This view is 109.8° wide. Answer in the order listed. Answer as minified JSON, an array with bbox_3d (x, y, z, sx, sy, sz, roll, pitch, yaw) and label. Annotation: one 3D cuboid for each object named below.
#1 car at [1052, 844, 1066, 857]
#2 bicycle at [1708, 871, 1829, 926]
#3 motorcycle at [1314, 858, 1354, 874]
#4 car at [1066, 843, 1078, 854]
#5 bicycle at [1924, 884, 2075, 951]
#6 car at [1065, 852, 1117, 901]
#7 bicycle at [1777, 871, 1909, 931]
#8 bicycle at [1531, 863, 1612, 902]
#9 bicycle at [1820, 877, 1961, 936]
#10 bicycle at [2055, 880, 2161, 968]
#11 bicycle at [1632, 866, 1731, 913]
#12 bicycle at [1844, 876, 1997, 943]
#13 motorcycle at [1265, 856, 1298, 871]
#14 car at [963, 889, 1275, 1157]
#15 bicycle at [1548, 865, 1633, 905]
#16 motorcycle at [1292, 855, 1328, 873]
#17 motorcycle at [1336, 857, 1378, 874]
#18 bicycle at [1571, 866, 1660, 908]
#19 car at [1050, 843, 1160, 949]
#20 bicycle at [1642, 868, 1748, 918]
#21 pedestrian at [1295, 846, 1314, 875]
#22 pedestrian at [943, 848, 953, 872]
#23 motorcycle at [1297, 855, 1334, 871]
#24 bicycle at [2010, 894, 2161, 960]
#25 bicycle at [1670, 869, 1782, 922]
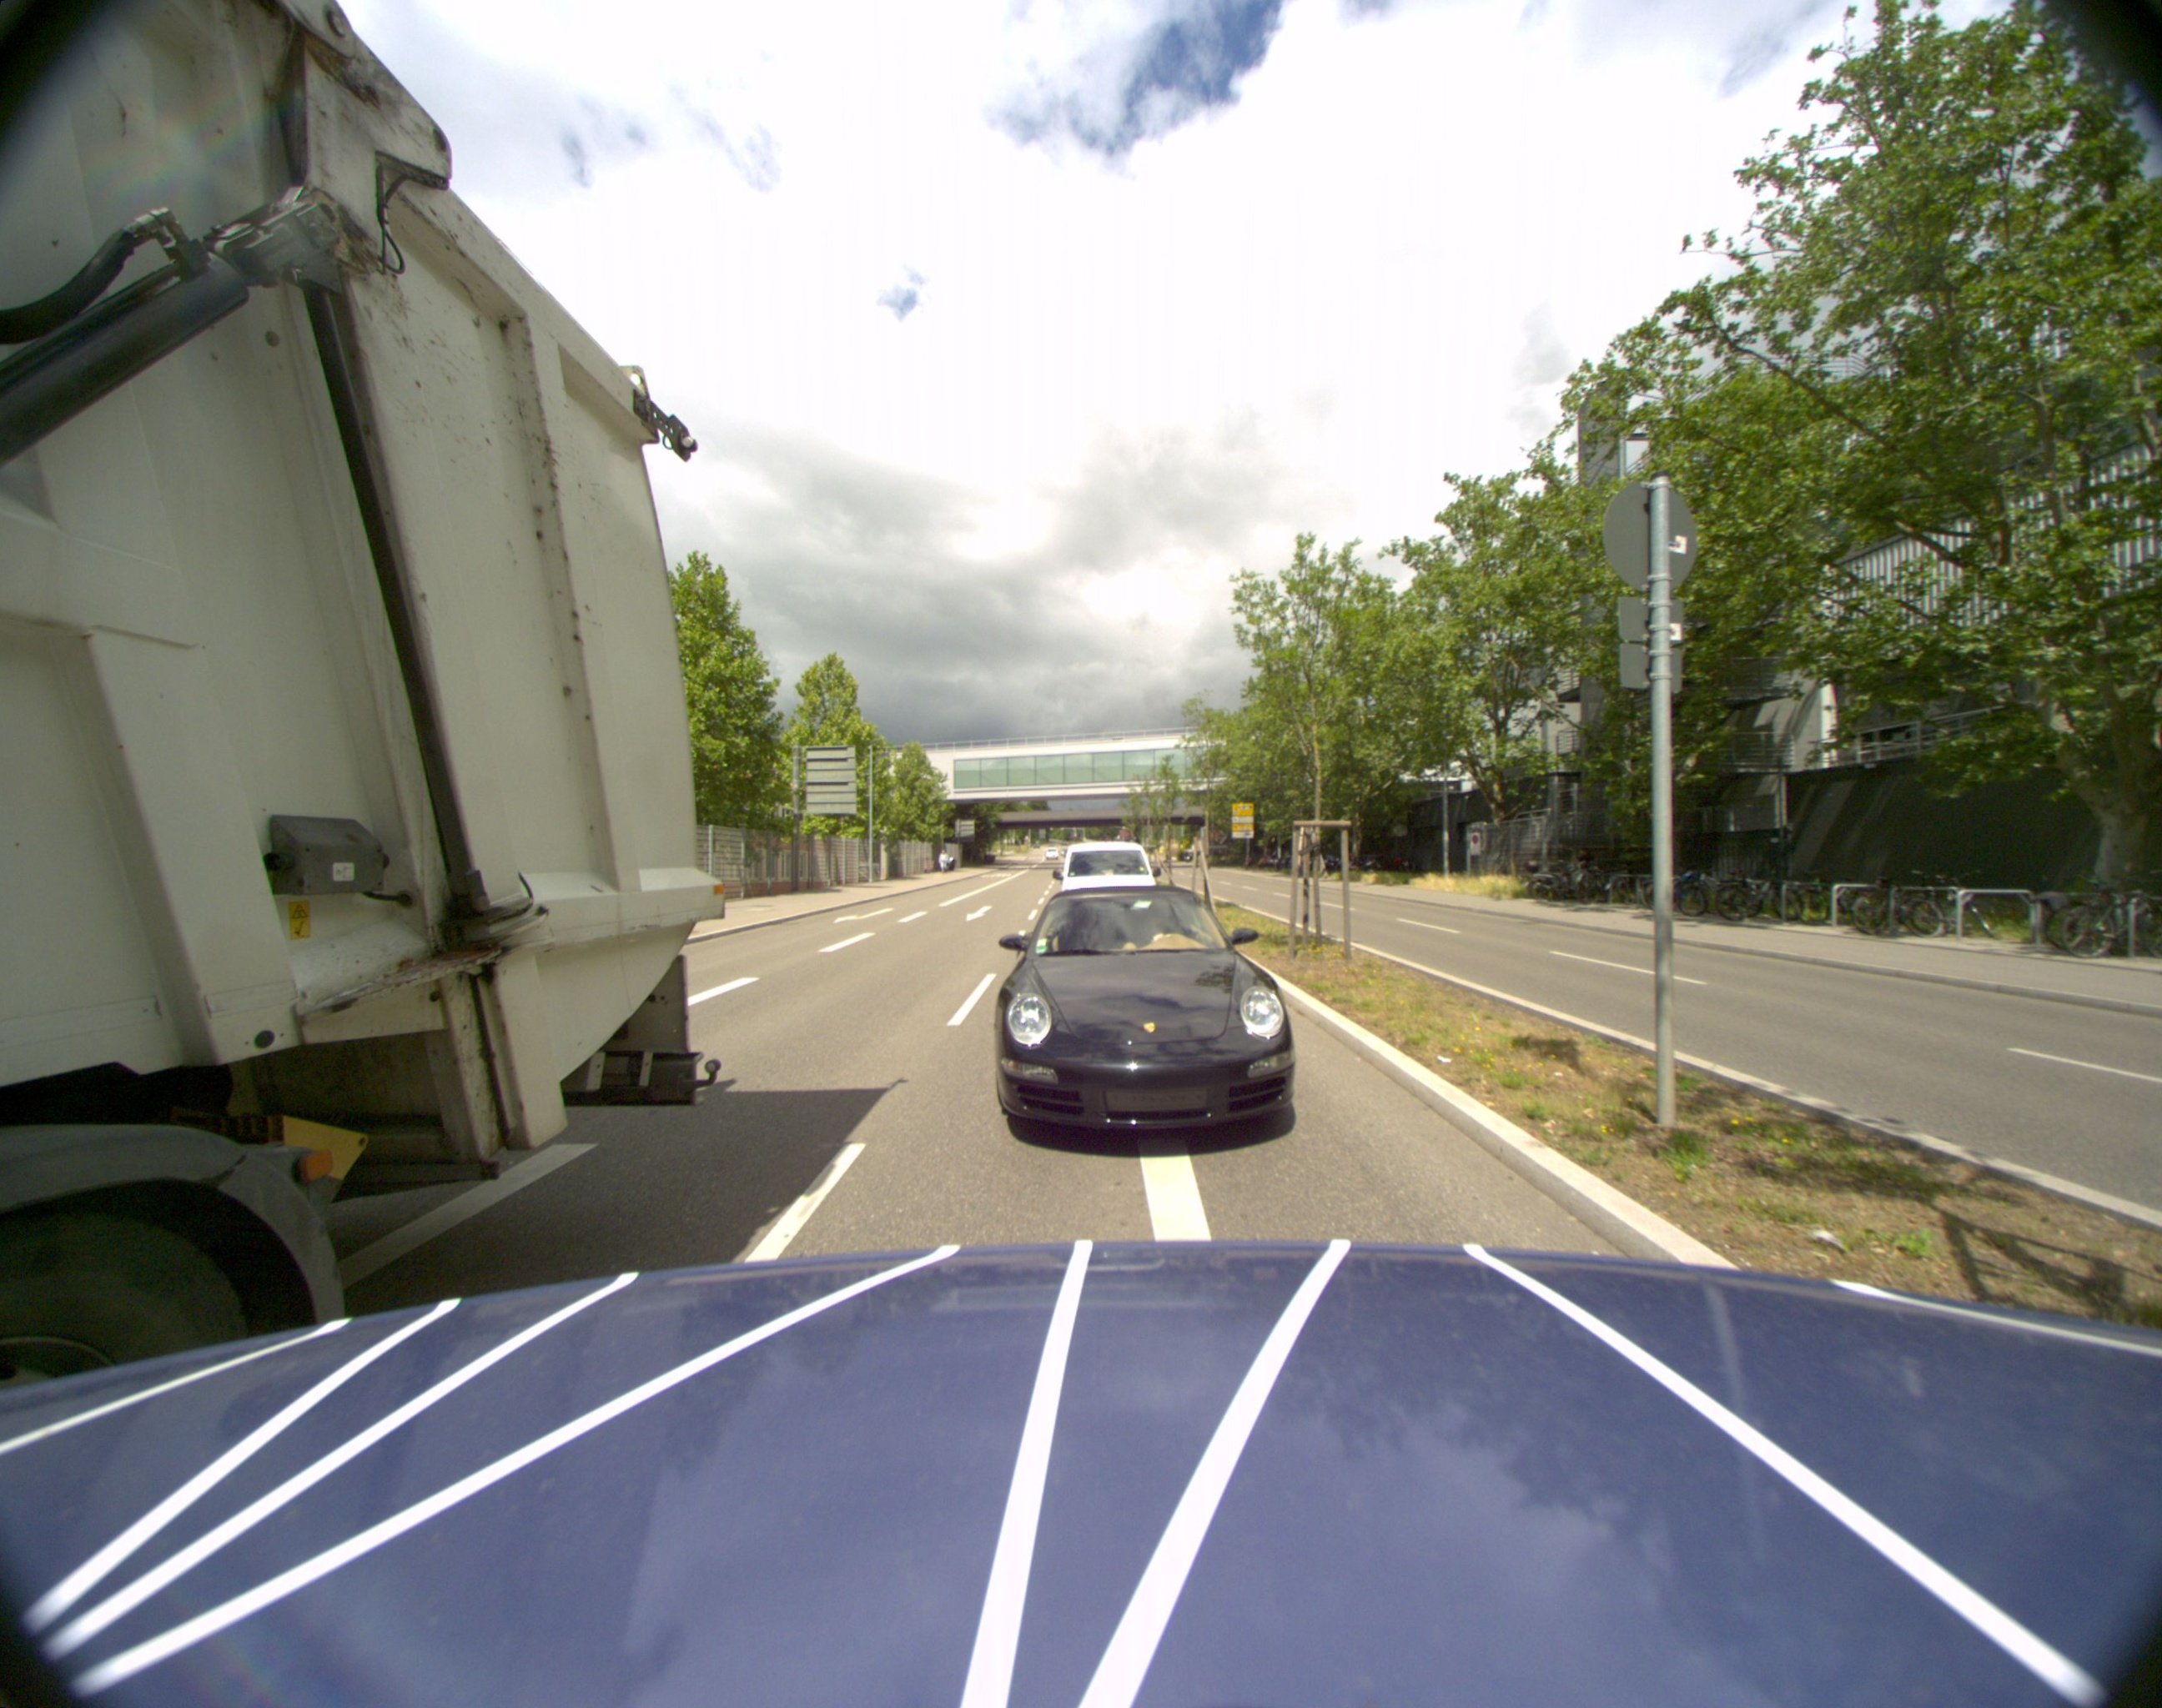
[{"bbox_3d":[-3.699,-0.638,128.275,1.925,2.082,4.657,-1,0,2],"label":"car"},{"bbox_3d":[14.500,0.940,16.055,2.129,1.104,0.382,-1,1,3],"label":"bicycle"},{"bbox_3d":[14.849,0.717,44.552,2.133,0.880,0.534,-1,0,1],"label":"motorcycle"},{"bbox_3d":[-1.667,-1.006,142.068,1.862,1.800,4.357,-3,0,1],"label":"car"},{"bbox_3d":[14.752,1.010,12.215,1.993,0.992,0.382,-1,1,-1],"label":"bicycle"},{"bbox_3d":[0.324,0.775,27.906,1.747,1.647,3.545,-1,0,0],"label":"car"},{"bbox_3d":[15.041,0.923,15.016,2.129,1.104,0.382,-1,1,3],"label":"bicycle"},{"bbox_3d":[14.748,0.862,22.858,2.129,1.104,0.382,-1,1,3],"label":"bicycle"},{"bbox_3d":[15.010,0.966,14.110,2.129,1.025,0.382,-1,1,3],"label":"bicycle"},{"bbox_3d":[14.353,0.924,10.233,1.993,1.121,0.382,-1,1,-1],"label":"bicycle"},{"bbox_3d":[15.064,0.892,19.081,2.129,1.104,0.382,-1,1,3],"label":"bicycle"},{"bbox_3d":[14.577,0.954,13.216,2.129,1.089,0.382,-1,1,3],"label":"bicycle"},{"bbox_3d":[13.662,0.662,51.792,2.133,0.963,0.534,-1,0,1],"label":"motorcycle"},{"bbox_3d":[0.237,1.029,6.133,1.710,1.280,3.806,-1,0,1],"label":"car"},{"bbox_3d":[14.752,0.898,22.016,2.129,1.104,0.382,-1,1,3],"label":"bicycle"},{"bbox_3d":[14.811,0.660,49.137,2.133,1.131,0.534,-1,0,1],"label":"motorcycle"},{"bbox_3d":[15.385,0.648,42.393,2.133,0.893,0.534,-1,0,1],"label":"motorcycle"},{"bbox_3d":[14.822,0.911,21.093,2.129,1.104,0.382,-1,1,3],"label":"bicycle"},{"bbox_3d":[0.444,0.722,15.640,1.862,1.800,4.906,-1,0,1],"label":"car"},{"bbox_3d":[14.504,0.921,17.966,2.129,1.104,0.382,-1,1,3],"label":"bicycle"},{"bbox_3d":[13.066,0.374,44.366,0.900,1.710,0.673,-1,1,1],"label":"pedestrian"},{"bbox_3d":[-11.013,0.501,62.884,0.739,1.901,0.658,-2,1,-5],"label":"pedestrian"},{"bbox_3d":[14.766,0.547,47.903,2.133,0.963,0.534,-1,0,1],"label":"motorcycle"},{"bbox_3d":[14.956,1.069,11.235,1.993,0.885,0.382,-1,1,-1],"label":"bicycle"},{"bbox_3d":[14.479,0.929,17.079,2.129,1.104,0.382,-1,1,3],"label":"bicycle"}]
